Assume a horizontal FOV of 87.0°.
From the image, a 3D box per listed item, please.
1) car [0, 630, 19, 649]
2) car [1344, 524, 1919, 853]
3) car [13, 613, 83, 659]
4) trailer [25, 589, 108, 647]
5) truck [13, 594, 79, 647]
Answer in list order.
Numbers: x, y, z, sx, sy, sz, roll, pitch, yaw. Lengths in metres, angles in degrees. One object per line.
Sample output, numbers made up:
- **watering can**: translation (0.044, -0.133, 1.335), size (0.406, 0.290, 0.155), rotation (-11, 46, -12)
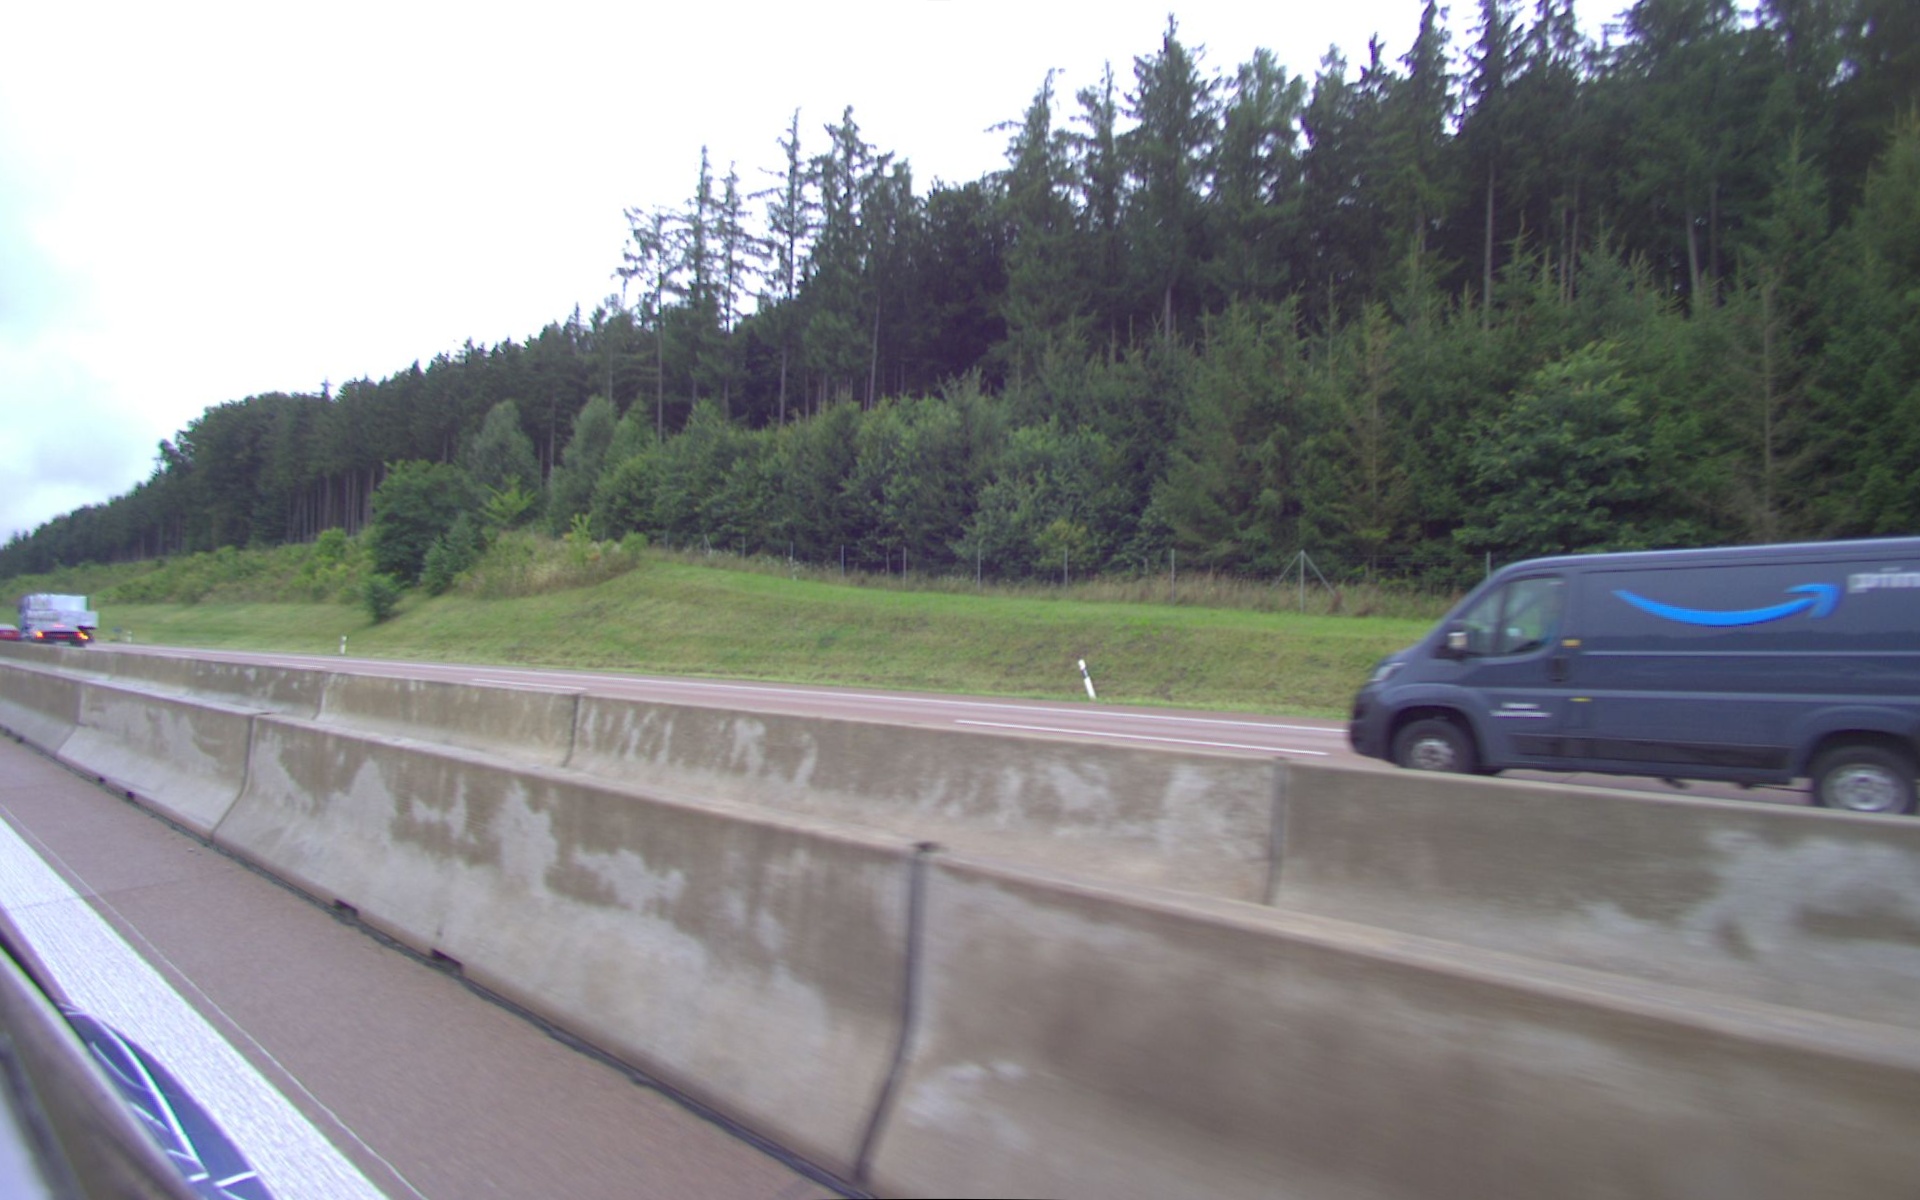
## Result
- **car**: translation (-72.347, 2.929, 76.004), size (5.110, 1.380, 1.800), rotation (-1, -2, 39)
- **car**: translation (6.376, 0.601, 8.700), size (5.392, 2.296, 2.081), rotation (0, 1, 40)
- **car**: translation (-41.037, 1.565, 45.484), size (5.319, 1.870, 1.758), rotation (0, 1, 42)
- **trailer**: translation (-73.472, 1.603, 83.078), size (12.932, 4.309, 2.904), rotation (-2, -5, 39)
- **truck**: translation (-79.829, 1.878, 88.335), size (7.641, 4.354, 2.934), rotation (-2, -6, 40)
